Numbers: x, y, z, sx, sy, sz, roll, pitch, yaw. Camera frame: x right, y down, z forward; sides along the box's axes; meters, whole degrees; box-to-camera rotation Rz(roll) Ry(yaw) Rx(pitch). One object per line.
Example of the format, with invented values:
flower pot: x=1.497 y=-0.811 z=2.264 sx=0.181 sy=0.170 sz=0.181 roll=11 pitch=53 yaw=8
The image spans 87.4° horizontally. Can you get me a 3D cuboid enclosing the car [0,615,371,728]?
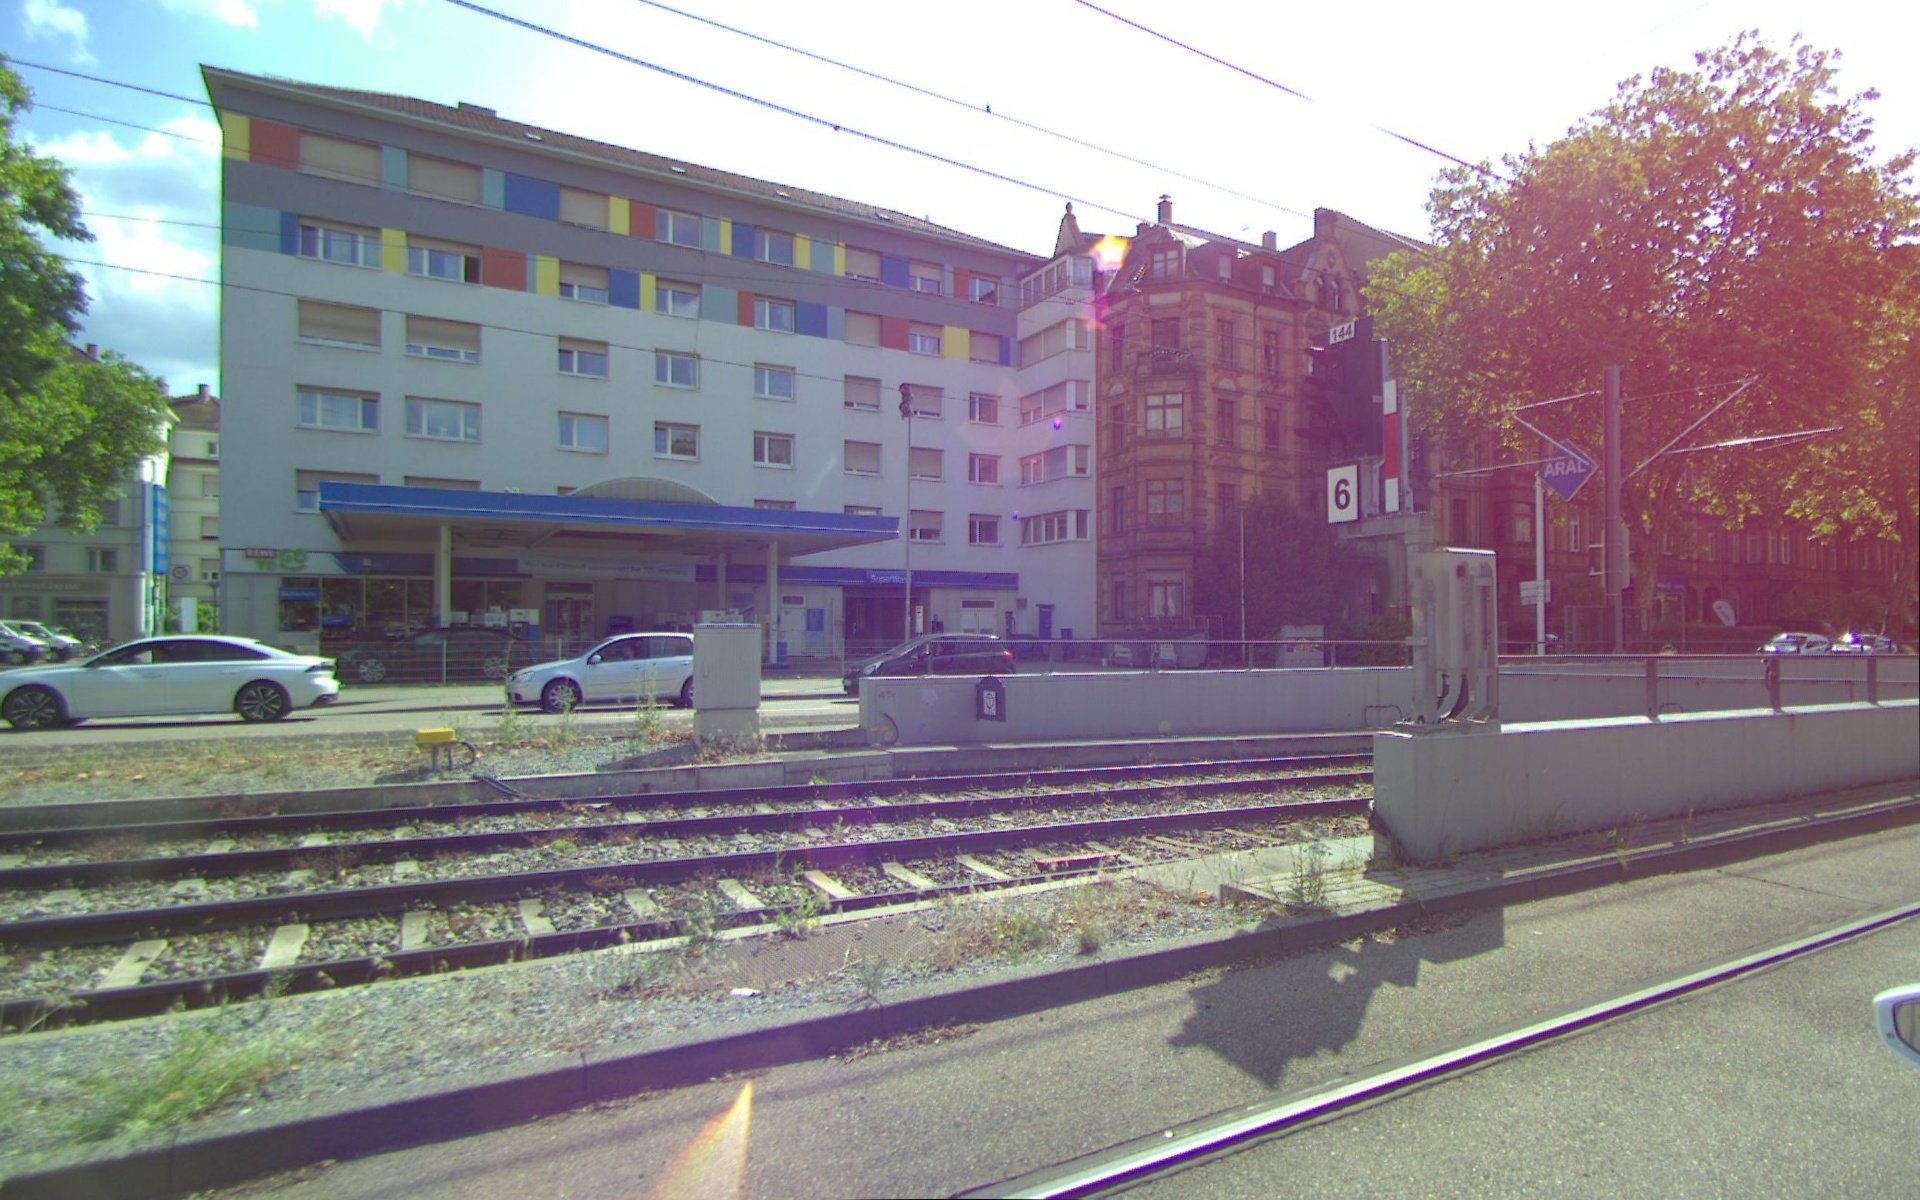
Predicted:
car: x=-12.556 y=1.158 z=16.367 sx=5.016 sy=1.627 sz=1.939 roll=2 pitch=-5 yaw=-30

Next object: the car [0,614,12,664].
car: x=-40.330 y=1.527 z=39.086 sx=4.628 sy=1.959 sz=1.984 roll=1 pitch=-4 yaw=-31

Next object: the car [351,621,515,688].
car: x=-14.324 y=1.435 z=27.390 sx=3.828 sy=1.628 sz=1.893 roll=-1 pitch=-1 yaw=-30

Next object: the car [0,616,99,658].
car: x=-44.990 y=1.779 z=48.276 sx=5.196 sy=1.896 sz=1.983 roll=1 pitch=-4 yaw=-33

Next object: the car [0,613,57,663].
car: x=-42.889 y=1.660 z=43.623 sx=5.200 sy=2.113 sz=1.982 roll=1 pitch=-4 yaw=-35

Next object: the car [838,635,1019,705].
car: x=-0.707 y=1.512 z=22.529 sx=3.730 sy=1.435 sz=1.664 roll=0 pitch=-1 yaw=-25

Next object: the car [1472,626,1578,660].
car: x=26.595 y=1.997 z=47.389 sx=1.974 sy=1.503 sz=3.973 roll=1 pitch=-2 yaw=-27

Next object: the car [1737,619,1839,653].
car: x=49.899 y=2.140 z=60.620 sx=1.977 sy=1.943 sz=4.380 roll=1 pitch=-1 yaw=-30

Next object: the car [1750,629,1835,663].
car: x=34.758 y=1.911 z=41.924 sx=3.447 sy=1.320 sz=1.492 roll=1 pitch=-4 yaw=-28

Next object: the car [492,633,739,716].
car: x=-6.684 y=1.382 z=19.569 sx=4.350 sy=1.435 sz=1.715 roll=1 pitch=-2 yaw=-28

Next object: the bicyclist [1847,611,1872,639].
bicyclist: x=47.687 y=1.321 z=53.243 sx=1.032 sy=1.475 sz=0.685 roll=1 pitch=-1 yaw=-30

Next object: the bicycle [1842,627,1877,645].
bicycle: x=47.661 y=1.910 z=53.218 sx=2.340 sy=0.925 sz=0.668 roll=1 pitch=-2 yaw=-30

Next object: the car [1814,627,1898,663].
car: x=40.292 y=2.018 z=45.147 sx=3.955 sy=1.501 sz=1.636 roll=1 pitch=-4 yaw=-30
